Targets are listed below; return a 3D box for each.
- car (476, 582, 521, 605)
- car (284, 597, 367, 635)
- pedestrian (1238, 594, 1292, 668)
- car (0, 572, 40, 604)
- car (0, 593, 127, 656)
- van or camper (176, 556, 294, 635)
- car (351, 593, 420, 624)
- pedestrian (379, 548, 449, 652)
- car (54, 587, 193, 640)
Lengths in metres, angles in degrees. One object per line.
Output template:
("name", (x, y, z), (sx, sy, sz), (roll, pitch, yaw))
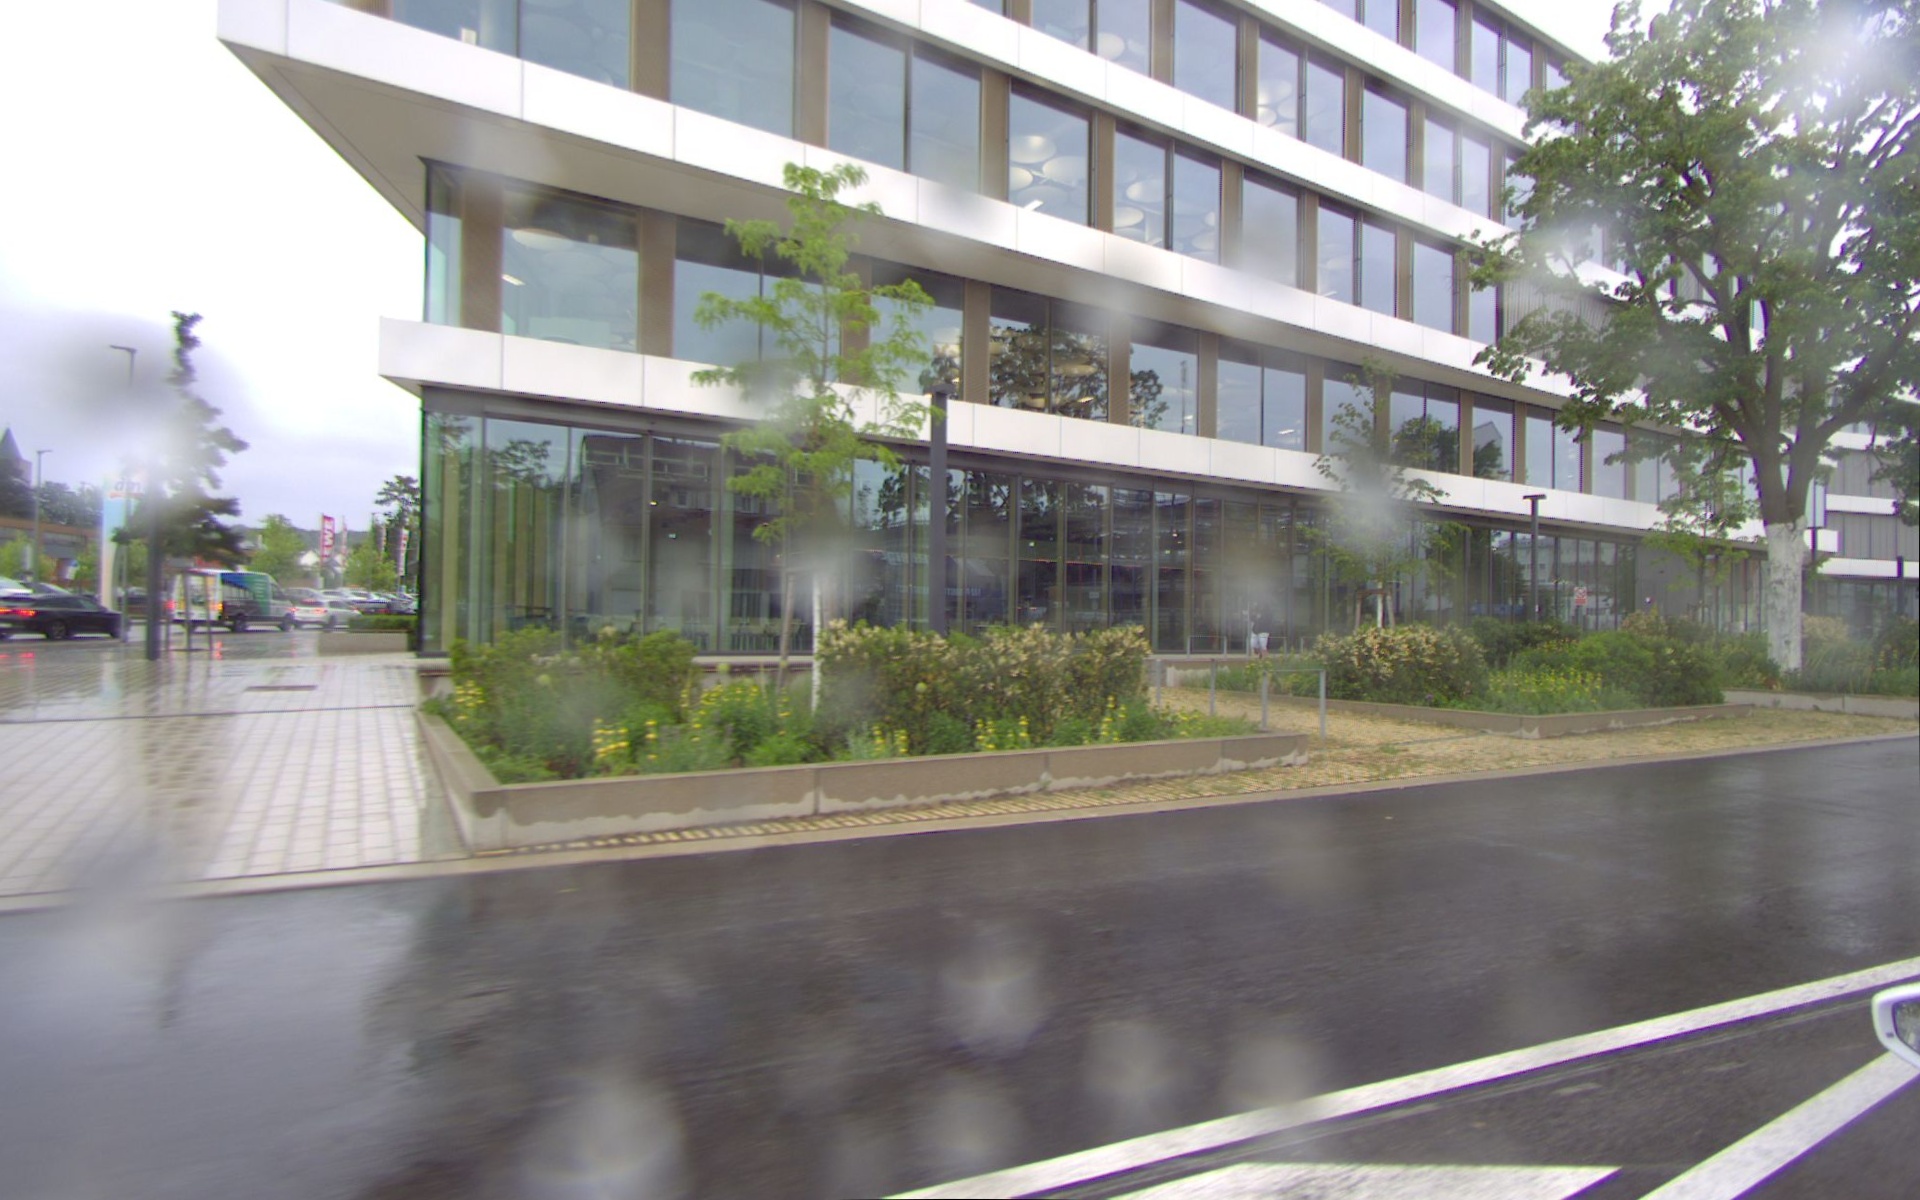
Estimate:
("car", (-35.293, -0.478, 76.933), (1.963, 1.639, 3.995), (2, 0, -8))
("car", (-31.880, 0.770, 50.607), (1.963, 1.728, 3.995), (2, 0, -8))
("pedestrian", (7.518, 0.759, 24.783), (0.944, 1.726, 0.721), (3, 2, -27))
("car", (-48.477, -0.603, 49.753), (3.928, 1.572, 1.791), (1, 0, -10))
("car", (-29.535, 0.739, 32.687), (1.964, 1.751, 3.993), (2, 2, -9))
("van or camper", (-30.827, -0.223, 42.930), (1.964, 3.129, 5.093), (1, 1, -9))
("car", (-32.597, 0.462, 57.131), (1.963, 1.639, 3.995), (2, 0, -8))
("pedestrian", (-11.728, 0.000, 21.593), (0.986, 2.174, 0.931), (1, 0, -4))
("car", (-29.845, 0.438, 36.017), (1.963, 1.728, 3.995), (2, 0, -8))
